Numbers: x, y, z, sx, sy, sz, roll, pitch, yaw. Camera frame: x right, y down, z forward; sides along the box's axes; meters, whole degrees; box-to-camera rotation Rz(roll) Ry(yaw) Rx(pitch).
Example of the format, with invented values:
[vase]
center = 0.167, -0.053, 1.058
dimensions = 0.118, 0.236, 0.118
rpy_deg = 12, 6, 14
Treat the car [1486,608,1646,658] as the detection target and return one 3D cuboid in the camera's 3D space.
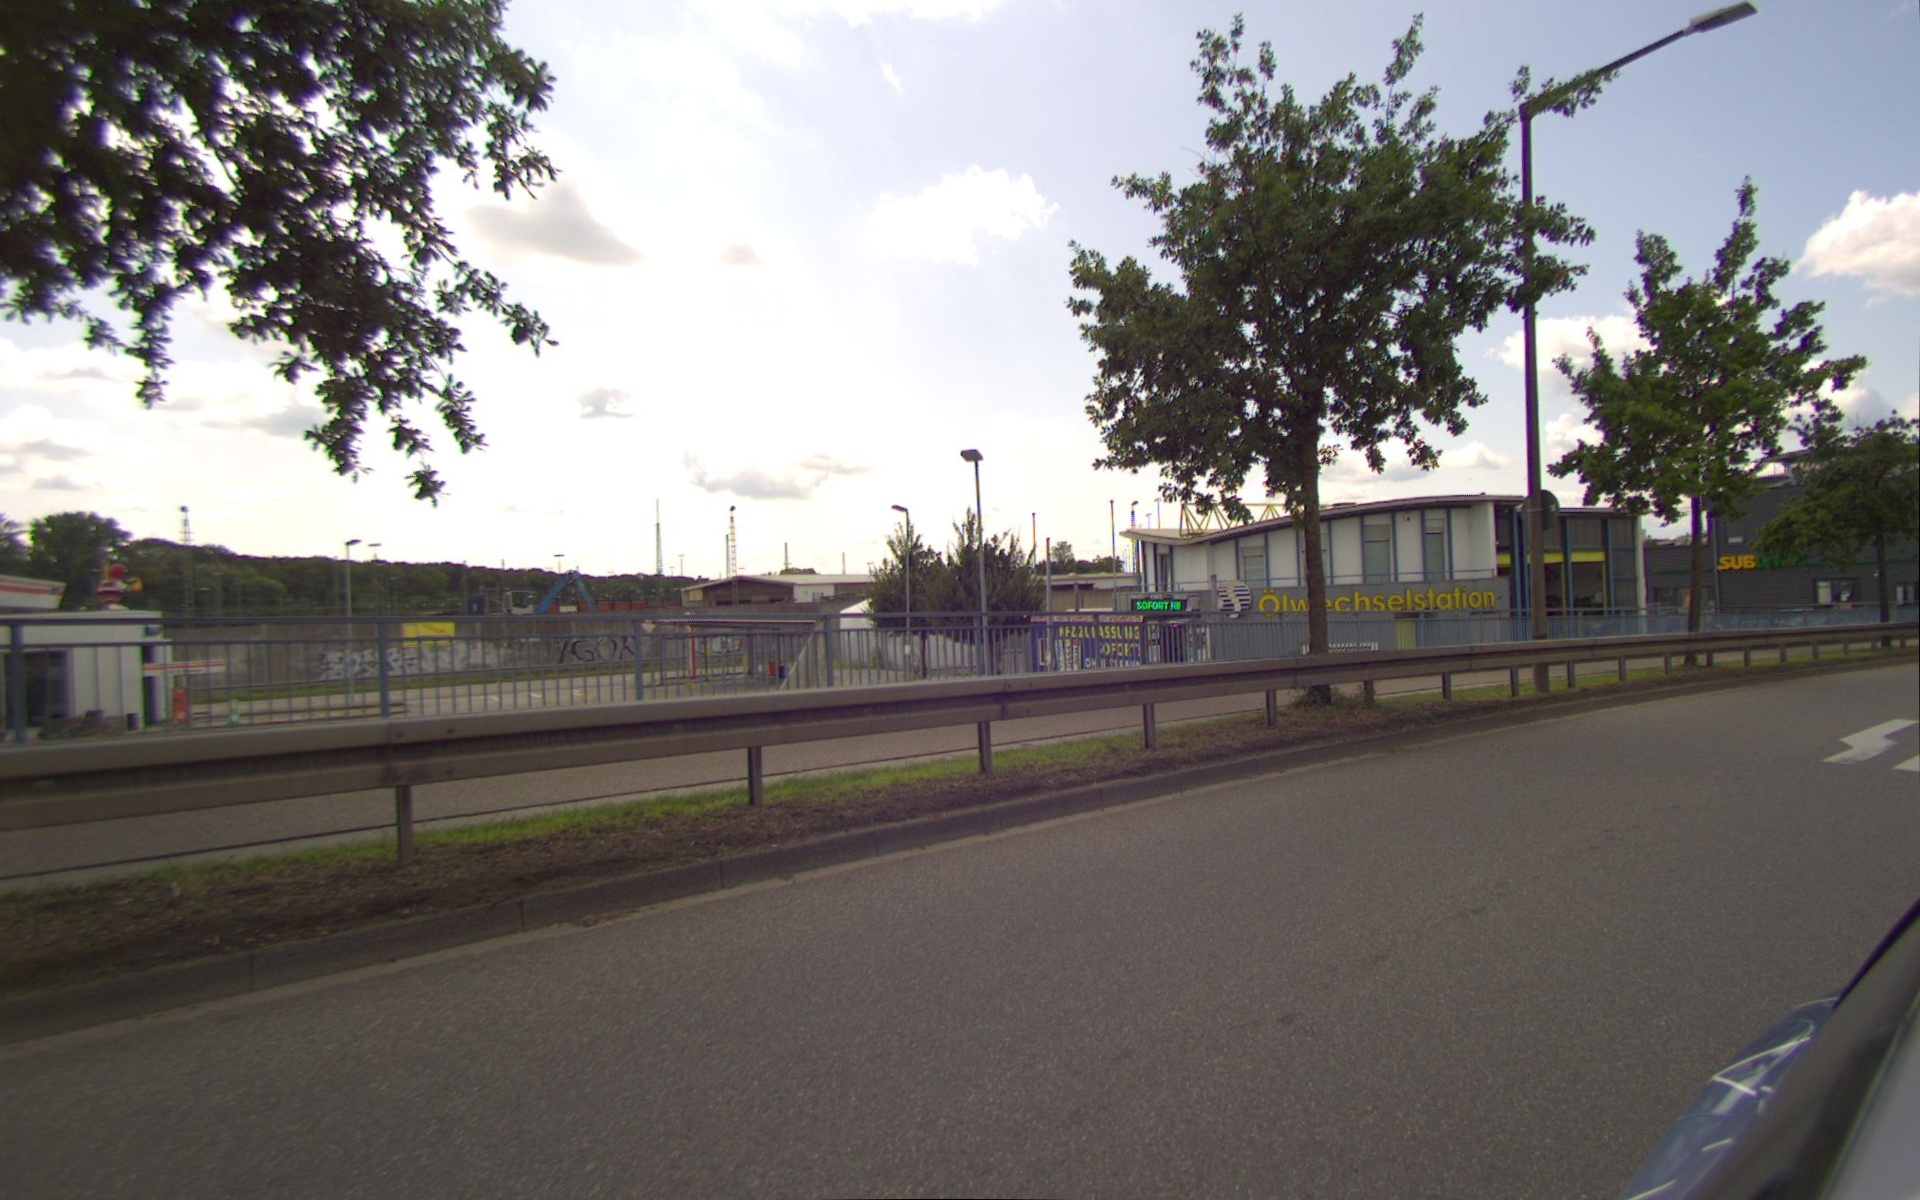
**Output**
[car]
center = 27.250, 1.448, 45.787
dimensions = 2.188, 2.039, 5.827
rpy_deg = -2, 0, -29
